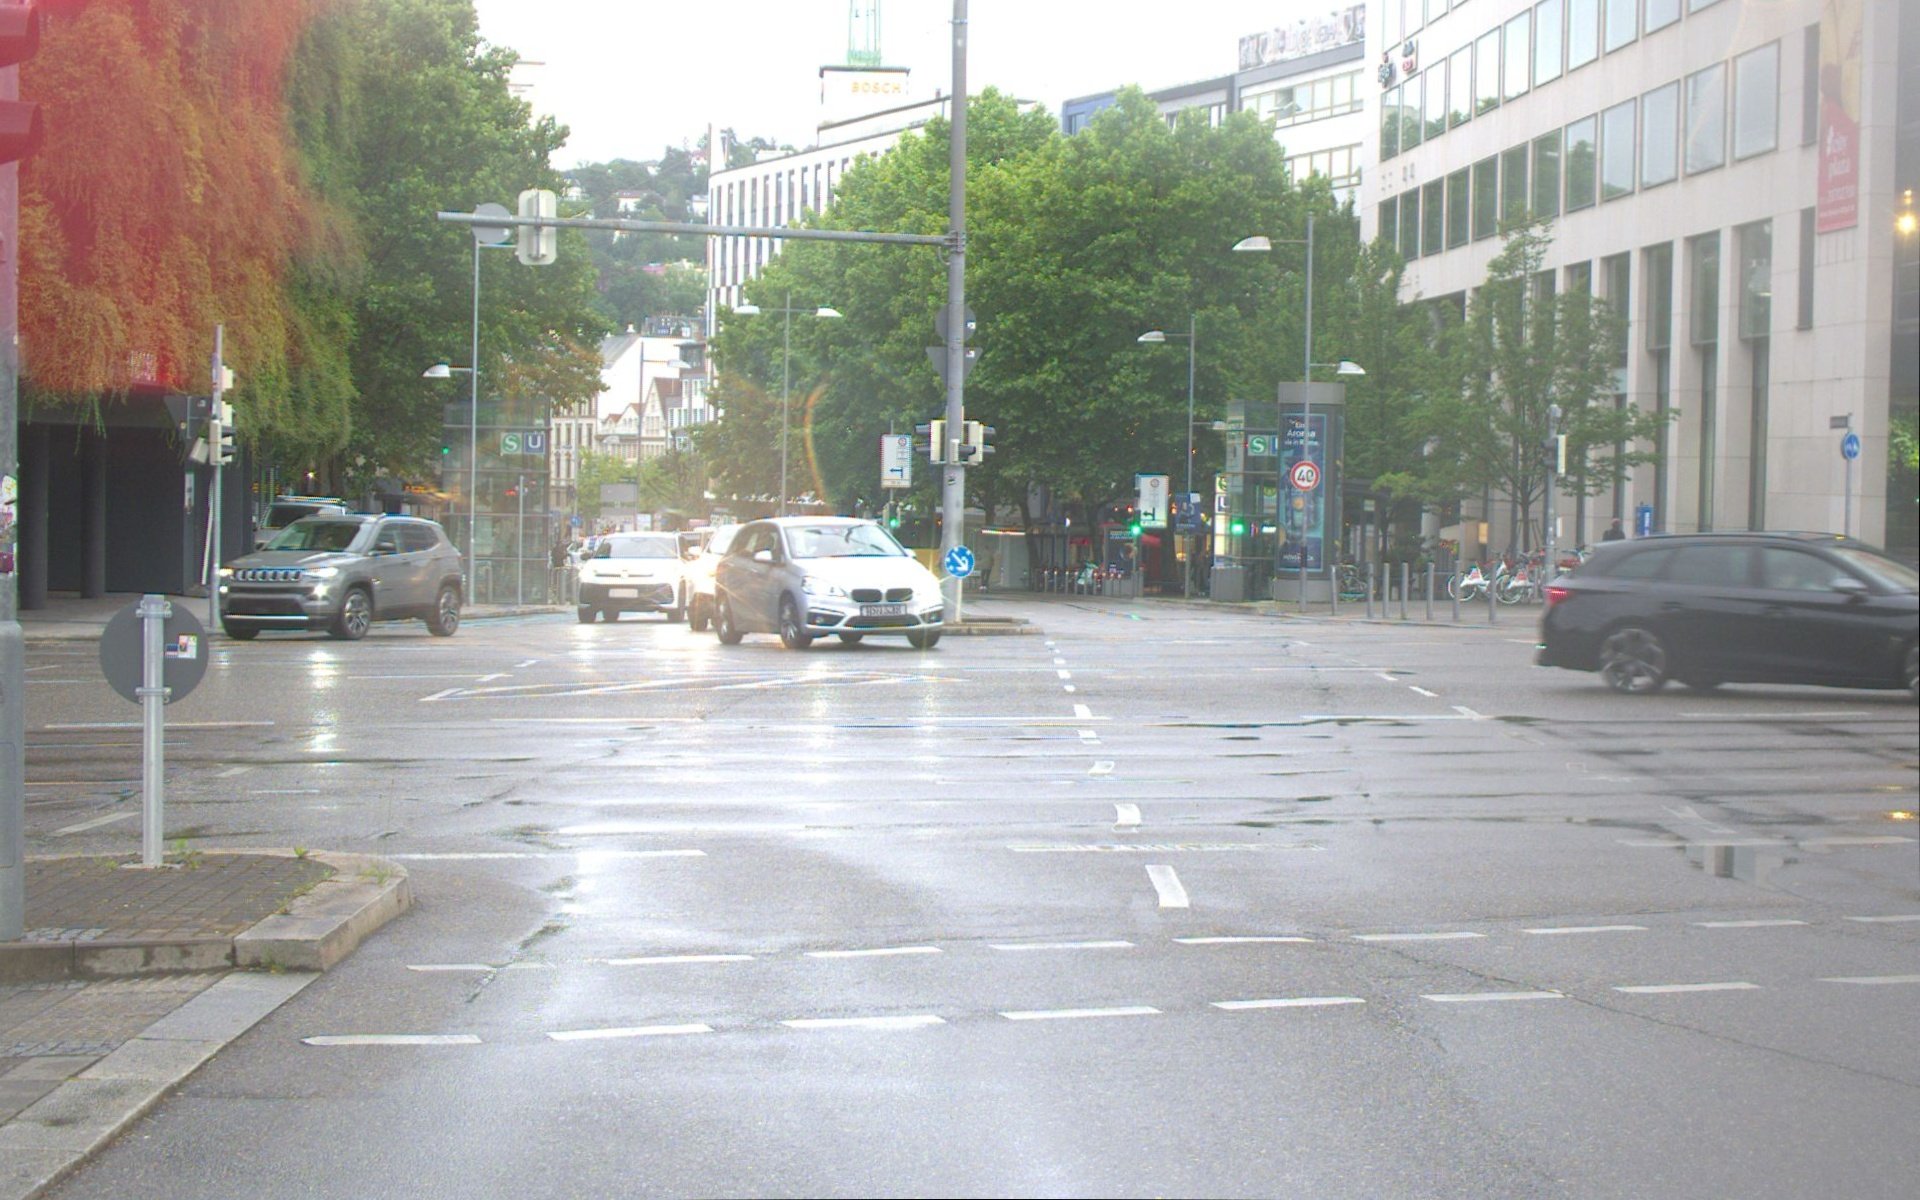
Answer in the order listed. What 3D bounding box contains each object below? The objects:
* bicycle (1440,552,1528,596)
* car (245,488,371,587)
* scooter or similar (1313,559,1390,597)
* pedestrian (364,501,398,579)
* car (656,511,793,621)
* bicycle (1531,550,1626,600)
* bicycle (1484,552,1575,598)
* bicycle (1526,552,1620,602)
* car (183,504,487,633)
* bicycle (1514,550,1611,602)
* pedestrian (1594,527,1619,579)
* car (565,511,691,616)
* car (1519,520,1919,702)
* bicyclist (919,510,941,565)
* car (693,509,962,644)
[{"bbox_3d":[11.089,-0.552,72.745,1.794,0.931,0.475,0,1,3],"label":"bicycle"},{"bbox_3d":[-12.908,-1.245,68.298,1.993,1.888,4.466,0,1,-5],"label":"car"},{"bbox_3d":[9.089,-0.512,79.777,1.745,0.875,0.489,0,1,-19],"label":"scooter or similar"},{"bbox_3d":[-11.309,-1.168,67.178,0.607,1.519,0.588,0,1,-5],"label":"pedestrian"},{"bbox_3d":[-3.558,-0.556,52.362,1.993,1.524,4.557,0,2,-3],"label":"car"},{"bbox_3d":[11.841,-0.476,65.823,1.799,0.931,0.474,1,1,41],"label":"bicycle"},{"bbox_3d":[11.740,-0.521,70.897,1.794,0.931,0.475,0,1,3],"label":"bicycle"},{"bbox_3d":[11.869,-0.449,66.569,1.799,0.931,0.474,1,1,41],"label":"bicycle"},{"bbox_3d":[-8.112,-0.434,45.057,1.995,1.592,4.461,1,1,19],"label":"car"},{"bbox_3d":[11.250,-0.452,64.215,1.799,0.931,0.474,1,1,41],"label":"bicycle"},{"bbox_3d":[14.528,-1.051,77.281,0.414,1.169,0.353,1,1,42],"label":"pedestrian"},{"bbox_3d":[-6.048,-0.687,62.346,2.174,1.817,4.645,0,1,-6],"label":"car"},{"bbox_3d":[7.307,0.063,29.448,4.615,1.443,1.859,2,2,34],"label":"car"},{"bbox_3d":[-1.075,-2.236,123.193,0.791,1.968,1.114,0,1,-1],"label":"bicyclist"},{"bbox_3d":[-1.652,-0.326,40.945,1.993,1.438,4.557,-1,3,-19],"label":"car"}]
